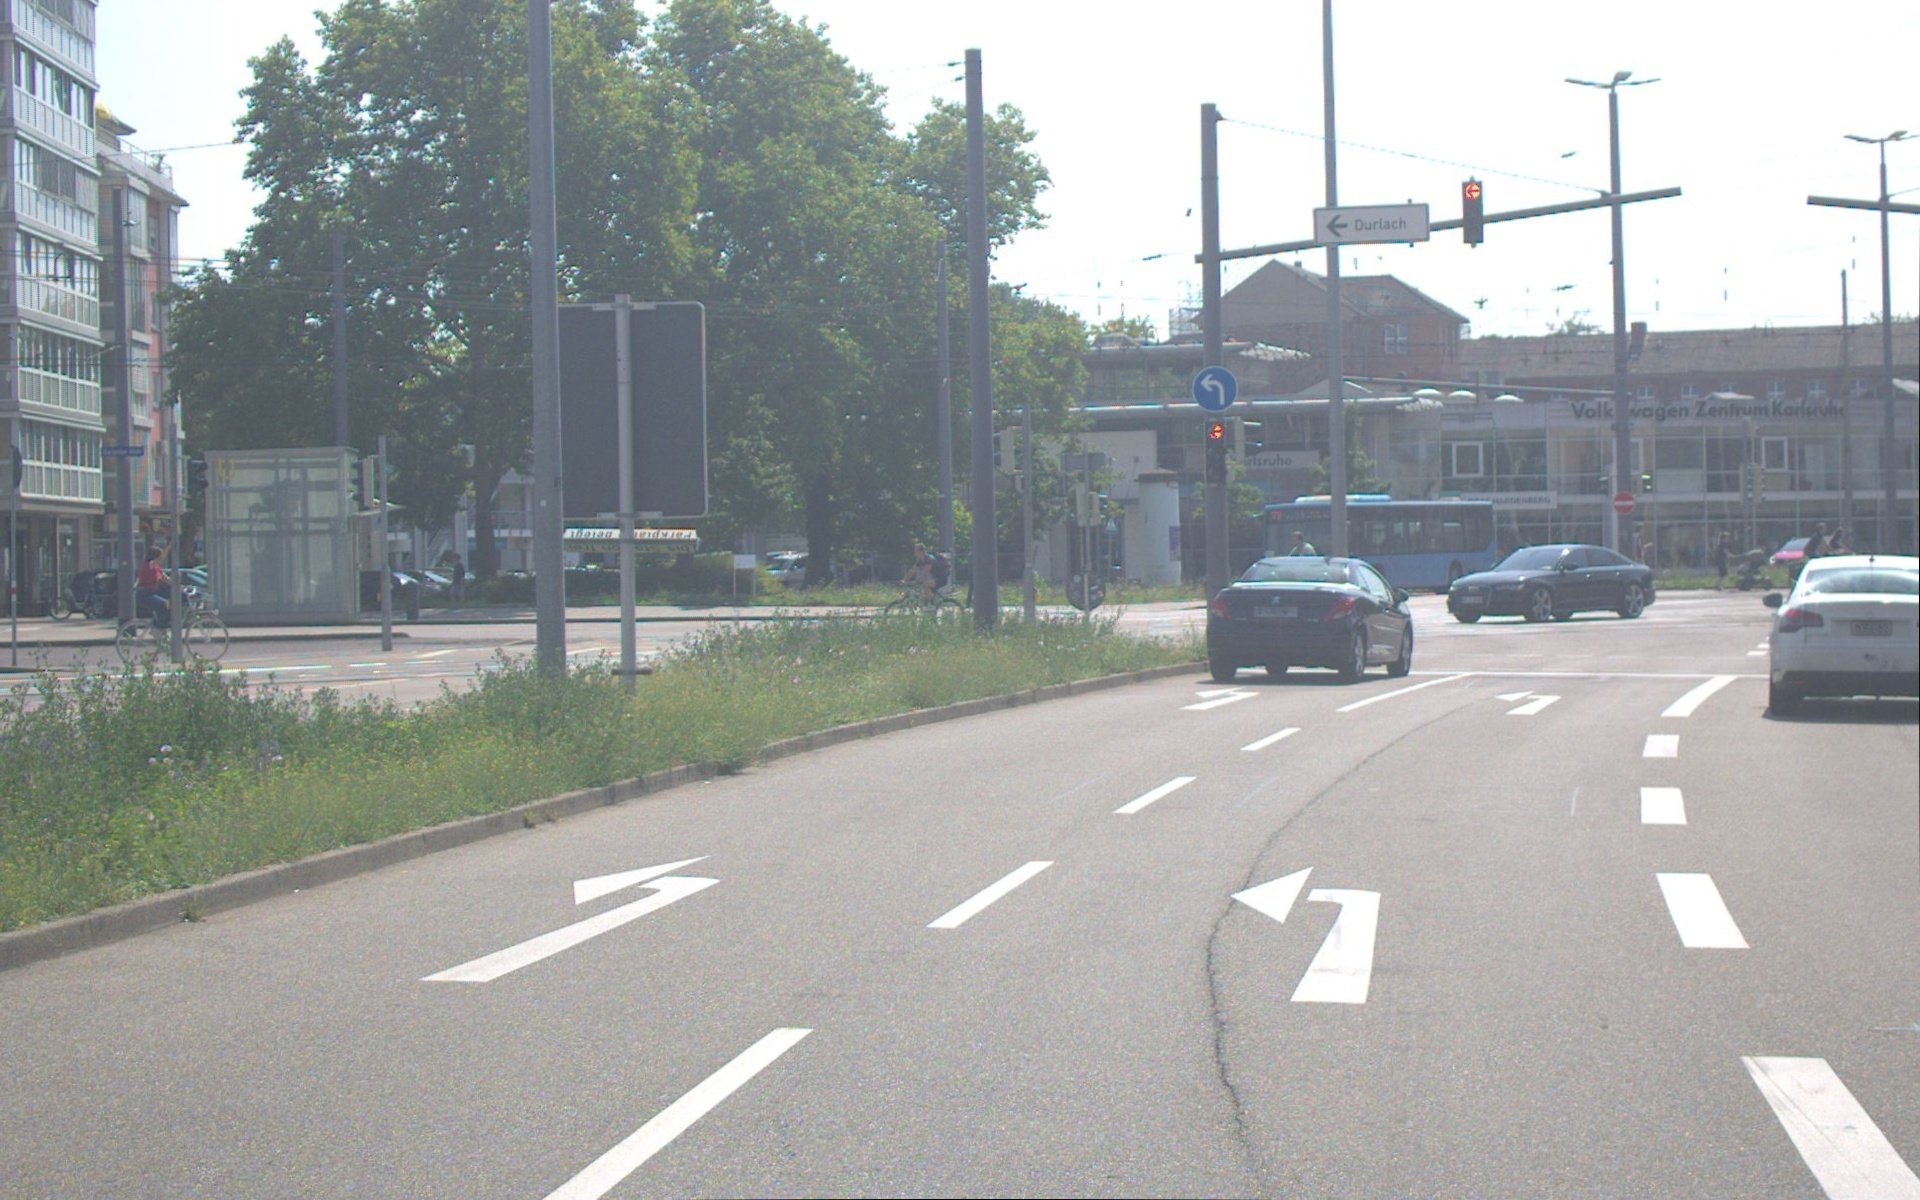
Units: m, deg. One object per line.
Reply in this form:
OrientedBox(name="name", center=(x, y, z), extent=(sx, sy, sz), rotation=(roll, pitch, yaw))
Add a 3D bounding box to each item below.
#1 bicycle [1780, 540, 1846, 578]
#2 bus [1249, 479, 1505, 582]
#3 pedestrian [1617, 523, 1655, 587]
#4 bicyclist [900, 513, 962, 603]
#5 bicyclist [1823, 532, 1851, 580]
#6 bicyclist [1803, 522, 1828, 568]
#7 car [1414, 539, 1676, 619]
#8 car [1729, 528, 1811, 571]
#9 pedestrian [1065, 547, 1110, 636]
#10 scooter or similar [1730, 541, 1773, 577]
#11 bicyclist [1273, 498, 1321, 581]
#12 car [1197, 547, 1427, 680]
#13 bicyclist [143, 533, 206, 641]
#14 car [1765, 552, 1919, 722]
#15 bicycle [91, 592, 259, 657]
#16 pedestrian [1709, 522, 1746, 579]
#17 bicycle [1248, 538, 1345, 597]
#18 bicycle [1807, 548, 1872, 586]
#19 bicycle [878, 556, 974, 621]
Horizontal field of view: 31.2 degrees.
OrientedBox(name="bicycle", center=(22.308, -1.076, 89.932), extent=(1.593, 0.981, 0.506), rotation=(0, 1, 32))
OrientedBox(name="bus", center=(12.797, -2.136, 104.237), extent=(3.059, 2.921, 11.832), rotation=(0, 1, 31))
OrientedBox(name="pedestrian", center=(18.482, -1.230, 94.000), extent=(0.784, 1.746, 0.807), rotation=(0, 1, 30))
OrientedBox(name="bicyclist", center=(-0.541, -0.791, 64.313), extent=(0.972, 1.648, 0.662), rotation=(-1, 1, -18))
OrientedBox(name="bicyclist", center=(23.307, -1.168, 91.319), extent=(0.594, 1.243, 0.507), rotation=(-1, 1, -2))
OrientedBox(name="bicyclist", center=(22.377, -1.431, 89.889), extent=(0.504, 1.184, 0.506), rotation=(0, 1, 31))
OrientedBox(name="car", center=(11.137, -0.412, 65.468), extent=(4.548, 1.433, 2.000), rotation=(-1, 1, -24))
OrientedBox(name="car", center=(27.764, -1.735, 117.830), extent=(1.731, 1.415, 3.834), rotation=(0, 1, 29))
OrientedBox(name="pedestrian", center=(1.849, -0.130, 49.979), extent=(0.595, 1.264, 0.505), rotation=(-1, 3, -3))
OrientedBox(name="scooter or similar", center=(21.773, -1.125, 94.620), extent=(0.835, 0.971, 0.793), rotation=(-1, 1, -28))
OrientedBox(name="bicyclist", center=(6.712, -1.202, 68.390), extent=(0.618, 1.644, 0.692), rotation=(-1, 1, -41))
OrientedBox(name="car", center=(4.062, 0.112, 39.156), extent=(1.759, 1.399, 3.977), rotation=(0, 1, 19))
OrientedBox(name="bicyclist", center=(-11.985, -0.200, 52.483), extent=(0.838, 1.637, 0.607), rotation=(0, 0, -3))
OrientedBox(name="car", center=(8.597, 0.296, 32.460), extent=(1.759, 1.450, 4.422), rotation=(0, 1, 16))
OrientedBox(name="bicycle", center=(-11.971, 0.371, 52.476), extent=(2.408, 0.950, 0.604), rotation=(-1, 1, -2))
OrientedBox(name="pedestrian", center=(21.049, -1.368, 94.254), extent=(0.635, 1.555, 0.748), rotation=(-1, 1, -28))
OrientedBox(name="bicycle", center=(6.692, -0.647, 68.364), extent=(2.038, 1.133, 0.698), rotation=(-2, 1, -42))
OrientedBox(name="bicycle", center=(23.354, -0.887, 91.323), extent=(1.591, 0.981, 0.507), rotation=(-1, 1, -2))
OrientedBox(name="bicycle", center=(-0.657, -0.237, 64.703), extent=(0.972, 1.174, 2.833), rotation=(-1, 1, -18))
